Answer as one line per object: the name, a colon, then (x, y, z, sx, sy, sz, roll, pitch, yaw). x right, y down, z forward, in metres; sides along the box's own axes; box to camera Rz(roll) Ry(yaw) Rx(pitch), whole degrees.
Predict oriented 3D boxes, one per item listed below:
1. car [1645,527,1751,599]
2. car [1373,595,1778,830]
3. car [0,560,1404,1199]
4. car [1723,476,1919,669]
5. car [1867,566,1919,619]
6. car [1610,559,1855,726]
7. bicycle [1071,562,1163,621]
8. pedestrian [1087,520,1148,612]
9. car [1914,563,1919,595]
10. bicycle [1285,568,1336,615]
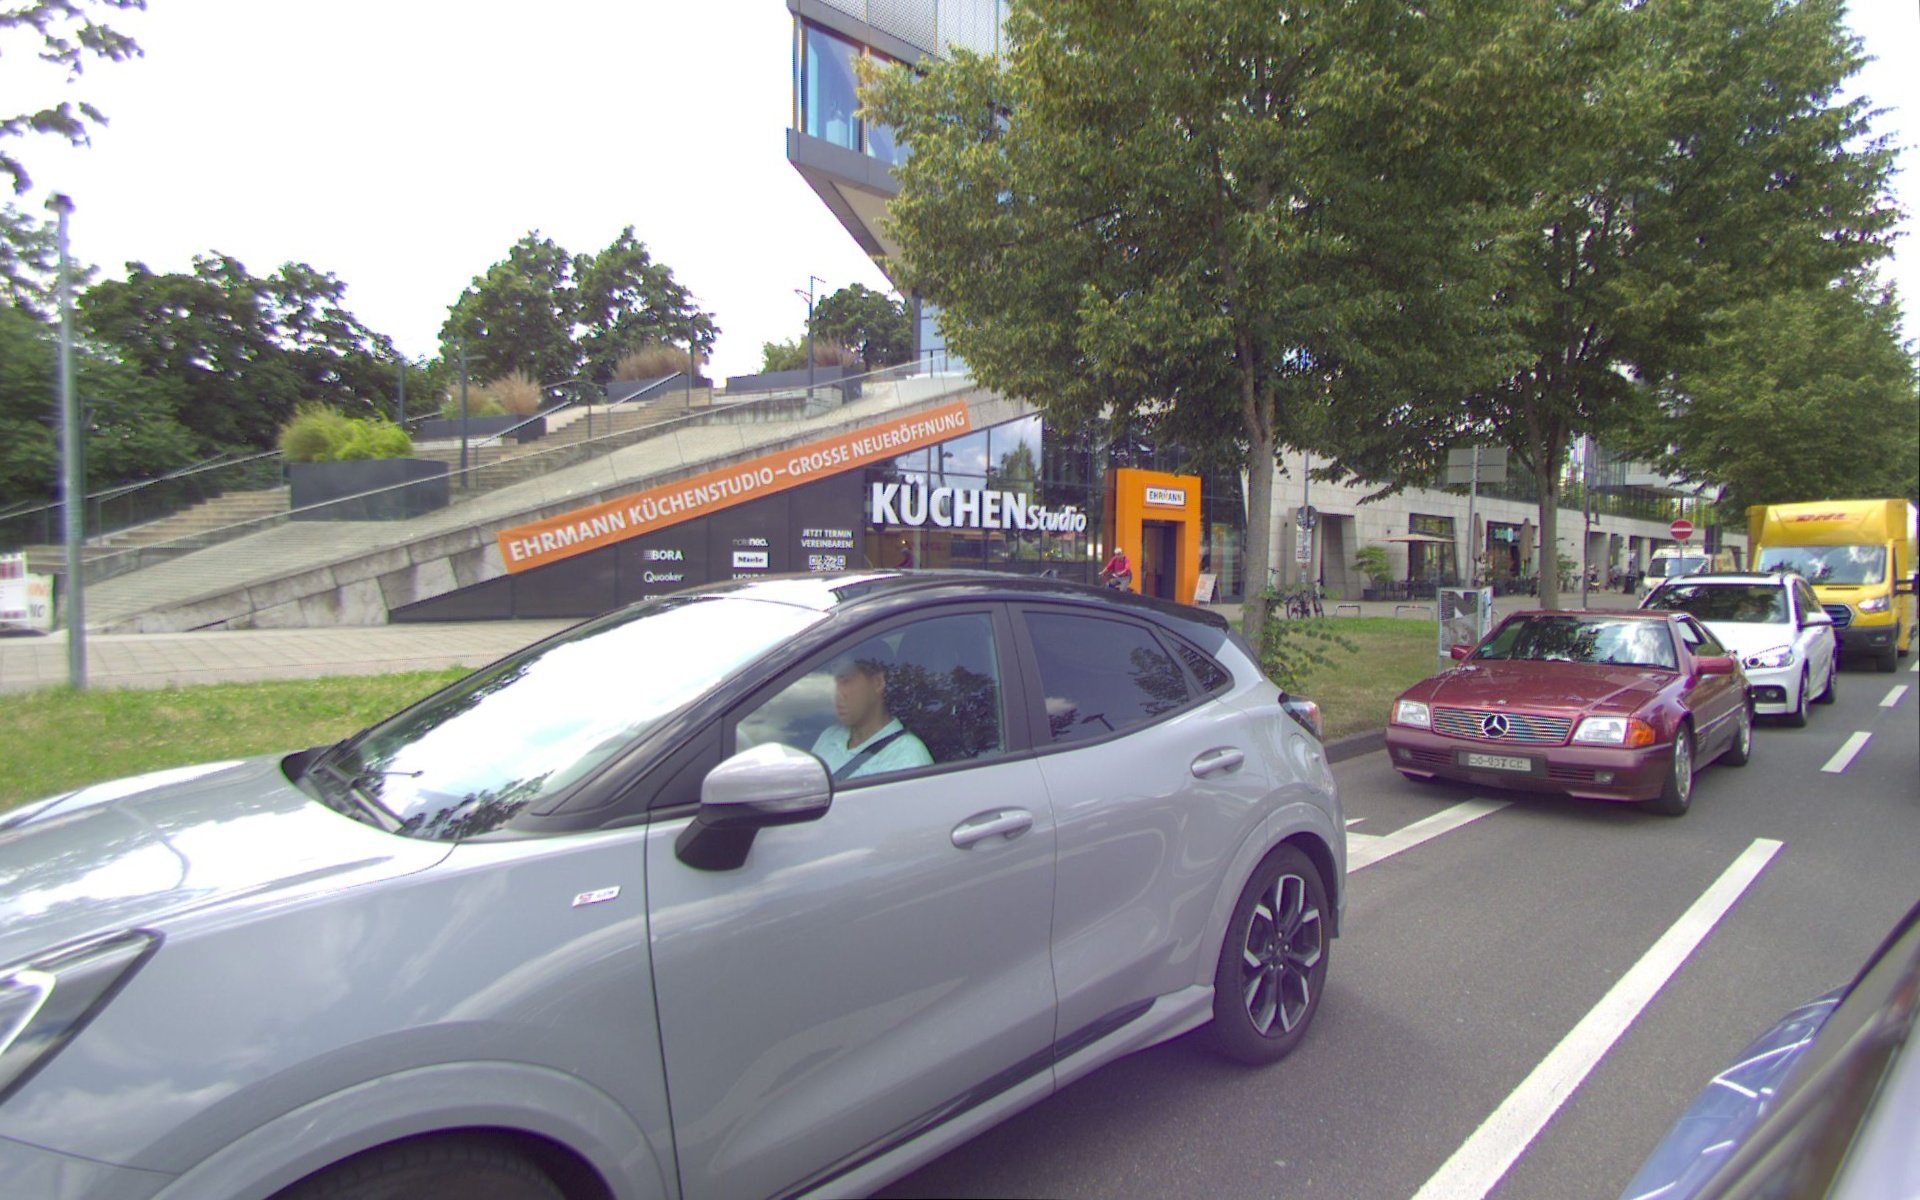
car: (26.935, -1.303, 36.831, 6.176, 2.424, 2.157, -2, 1, -45)
car: (4.858, 0.624, 7.731, 4.024, 1.277, 1.671, -1, 1, -44)
car: (-0.490, 0.642, 2.825, 4.023, 1.489, 1.672, -2, 3, -42)
car: (15.980, -0.508, 18.403, 7.136, 2.889, 2.280, -2, 2, -44)
car: (33.340, -0.303, 35.380, 4.223, 1.783, 1.996, -2, 1, -42)
car: (9.122, 0.378, 11.829, 4.059, 1.619, 1.671, -1, 1, -44)
bicycle: (3.642, -0.228, 23.282, 0.811, 1.259, 2.373, 6, 6, 44)
pedestrian: (3.611, -0.778, 23.191, 1.212, 2.038, 0.753, -1, 4, -45)
car: (50.987, -1.113, 52.482, 3.930, 1.671, 1.822, -2, 1, -41)
bicycle: (8.634, -0.222, 24.883, 0.515, 1.102, 1.722, 3, 3, 43)
